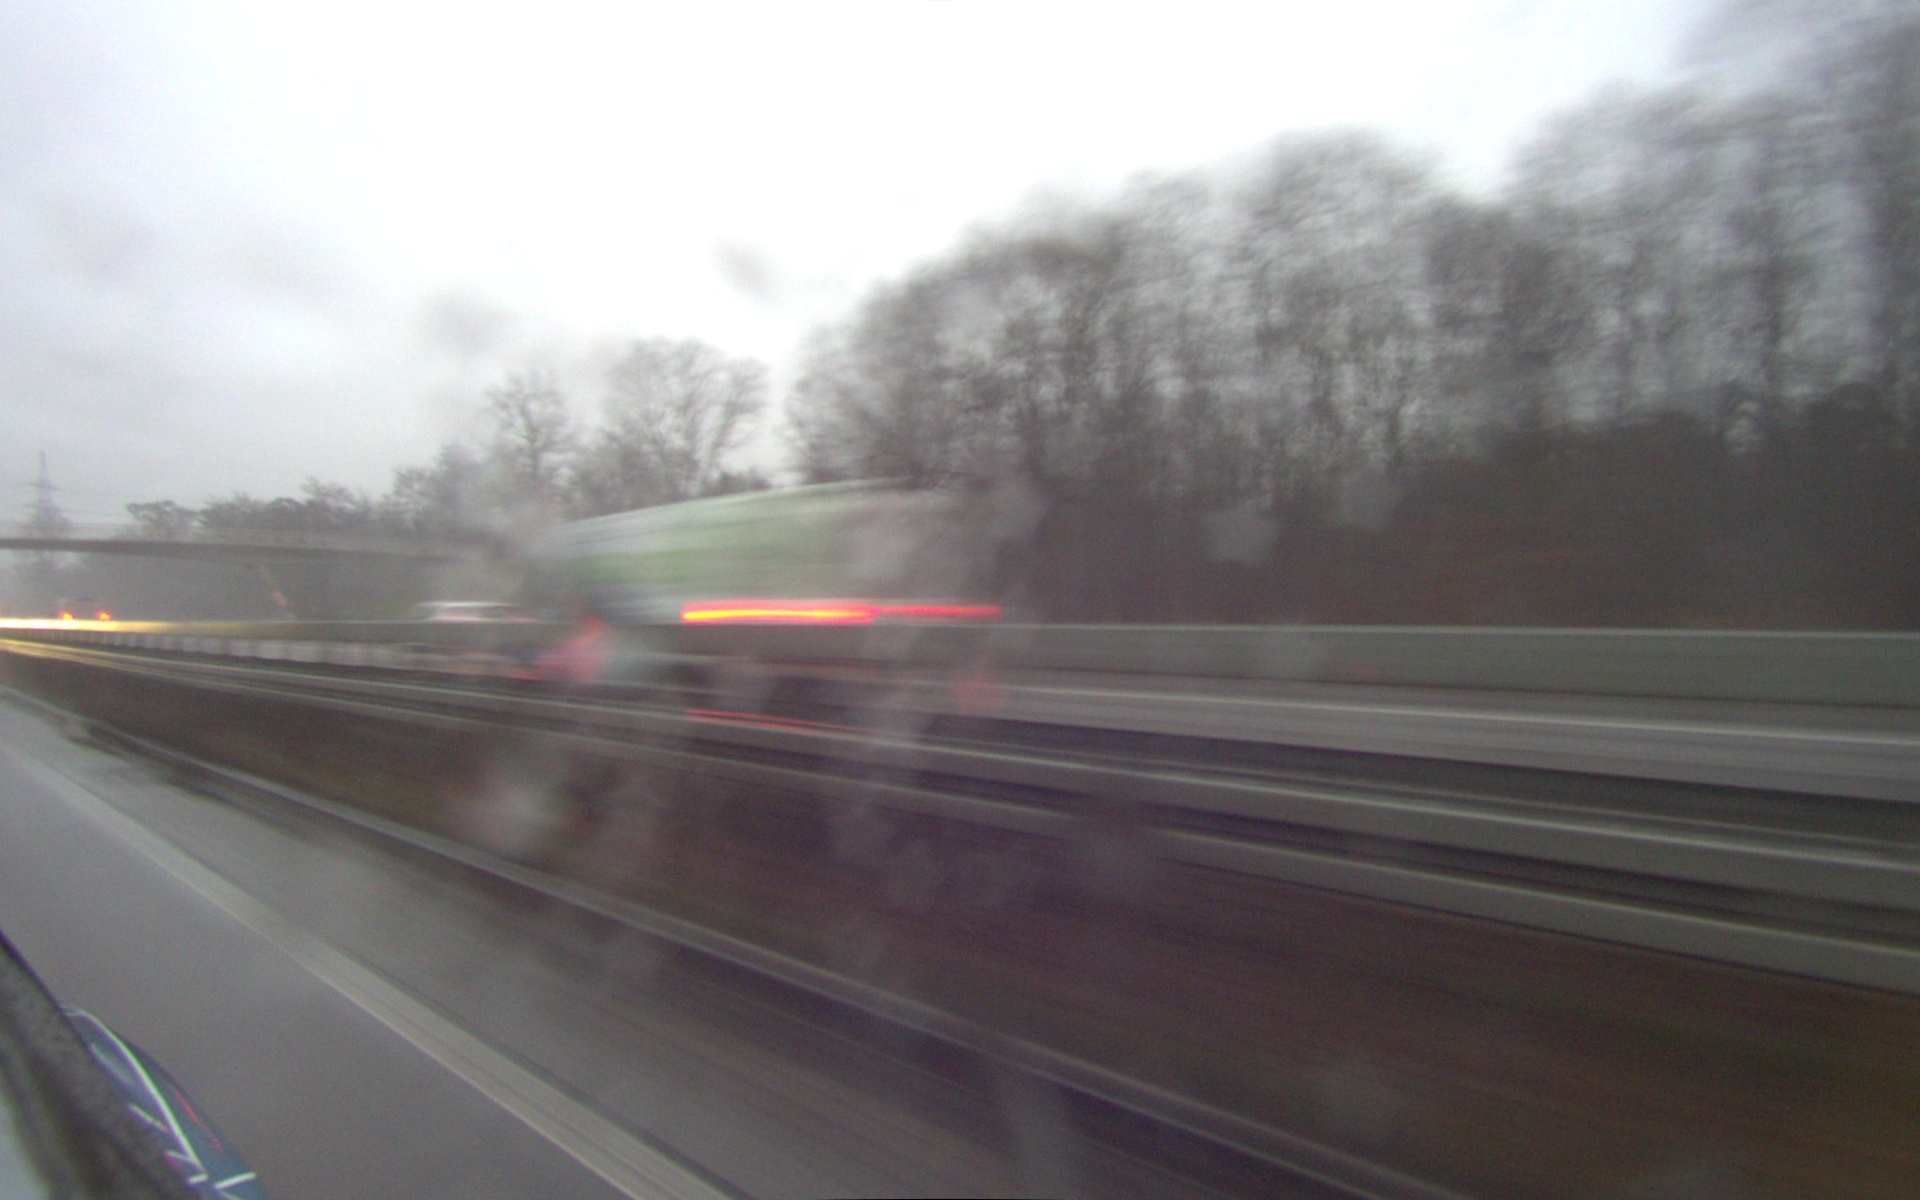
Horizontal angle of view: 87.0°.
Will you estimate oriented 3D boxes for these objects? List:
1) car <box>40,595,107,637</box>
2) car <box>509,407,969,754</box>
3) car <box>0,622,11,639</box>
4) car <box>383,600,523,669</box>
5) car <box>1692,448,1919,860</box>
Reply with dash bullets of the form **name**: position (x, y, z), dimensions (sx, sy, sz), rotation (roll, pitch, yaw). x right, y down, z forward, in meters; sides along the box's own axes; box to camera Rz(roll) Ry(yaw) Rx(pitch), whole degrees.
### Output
- **car**: position (-57.177, 1.009, 65.220), dimensions (6.266, 2.542, 2.450), rotation (-1, 0, 41)
- **car**: position (-2.790, -0.154, 11.796), dimensions (5.604, 3.113, 2.280), rotation (-1, 0, 40)
- **car**: position (-96.947, 3.069, 101.834), dimensions (3.999, 1.619, 1.761), rotation (-1, 0, 42)
- **car**: position (-13.439, 0.859, 26.699), dimensions (4.603, 1.659, 1.672), rotation (-1, 0, 41)
- **car**: position (6.329, 0.203, 4.850), dimensions (4.391, 2.028, 1.973), rotation (-1, 2, 41)
